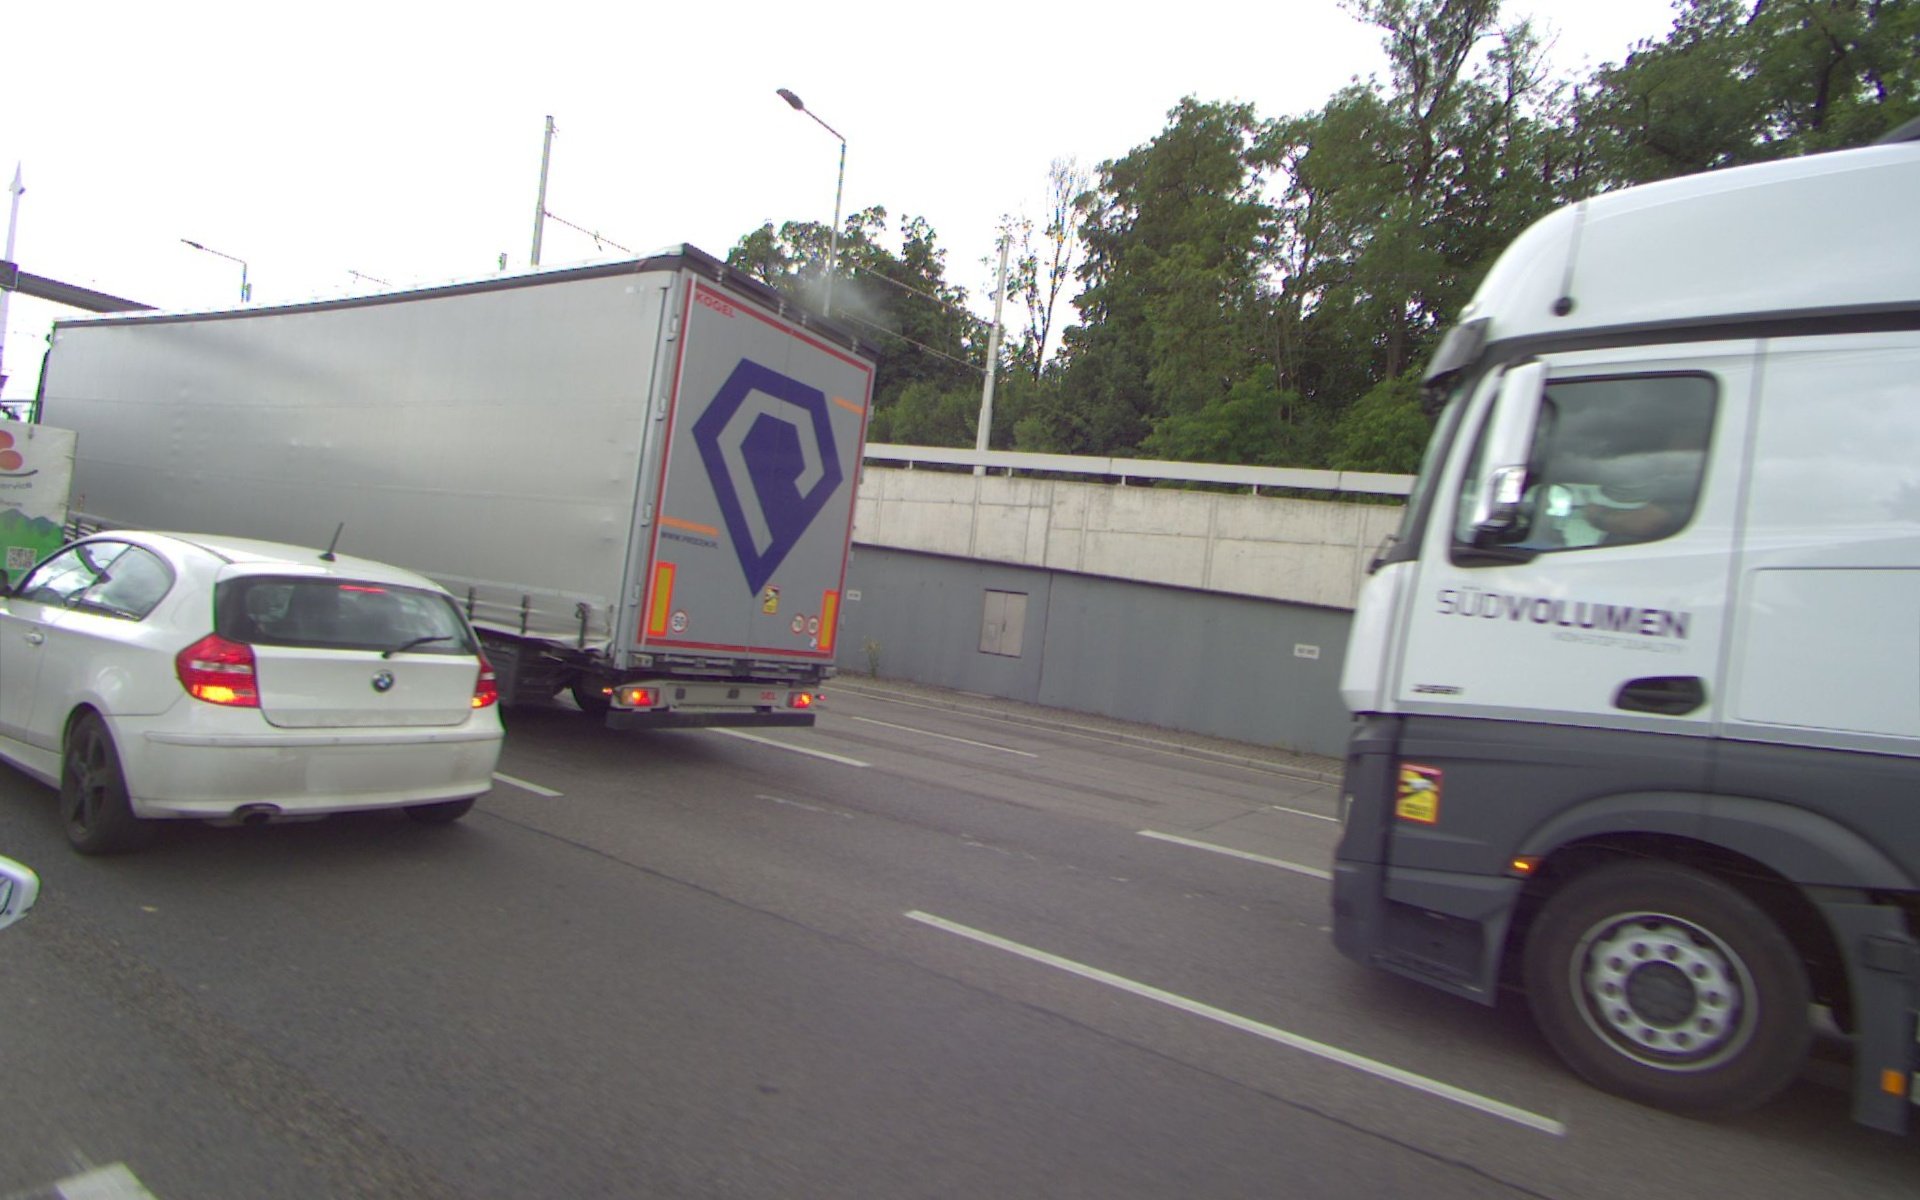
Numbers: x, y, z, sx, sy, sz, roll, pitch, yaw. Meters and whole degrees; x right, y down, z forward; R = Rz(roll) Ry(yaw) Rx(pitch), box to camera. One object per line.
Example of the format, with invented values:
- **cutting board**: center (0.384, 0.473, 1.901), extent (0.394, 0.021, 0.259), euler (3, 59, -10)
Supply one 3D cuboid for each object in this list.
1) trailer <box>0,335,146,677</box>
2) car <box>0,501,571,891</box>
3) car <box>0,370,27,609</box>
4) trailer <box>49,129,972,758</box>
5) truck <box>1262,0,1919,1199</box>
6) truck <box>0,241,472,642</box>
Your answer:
- **trailer**: center (-9.856, -1.007, 9.226), extent (4.733, 2.666, 2.108), euler (6, -4, 34)
- **car**: center (-4.371, 0.314, 5.768), extent (4.277, 1.414, 1.719), euler (7, -3, 34)
- **car**: center (-12.963, -1.390, 11.341), extent (5.846, 2.659, 2.060), euler (6, -1, 33)
- **trailer**: center (-6.164, -1.553, 12.220), extent (11.914, 4.684, 3.812), euler (7, -2, 32)
- **truck**: center (7.099, 0.422, 3.139), extent (10.805, 4.189, 3.731), euler (7, -2, 33)
- **truck**: center (-11.920, -2.245, 15.878), extent (7.319, 4.684, 3.812), euler (7, -2, 32)
